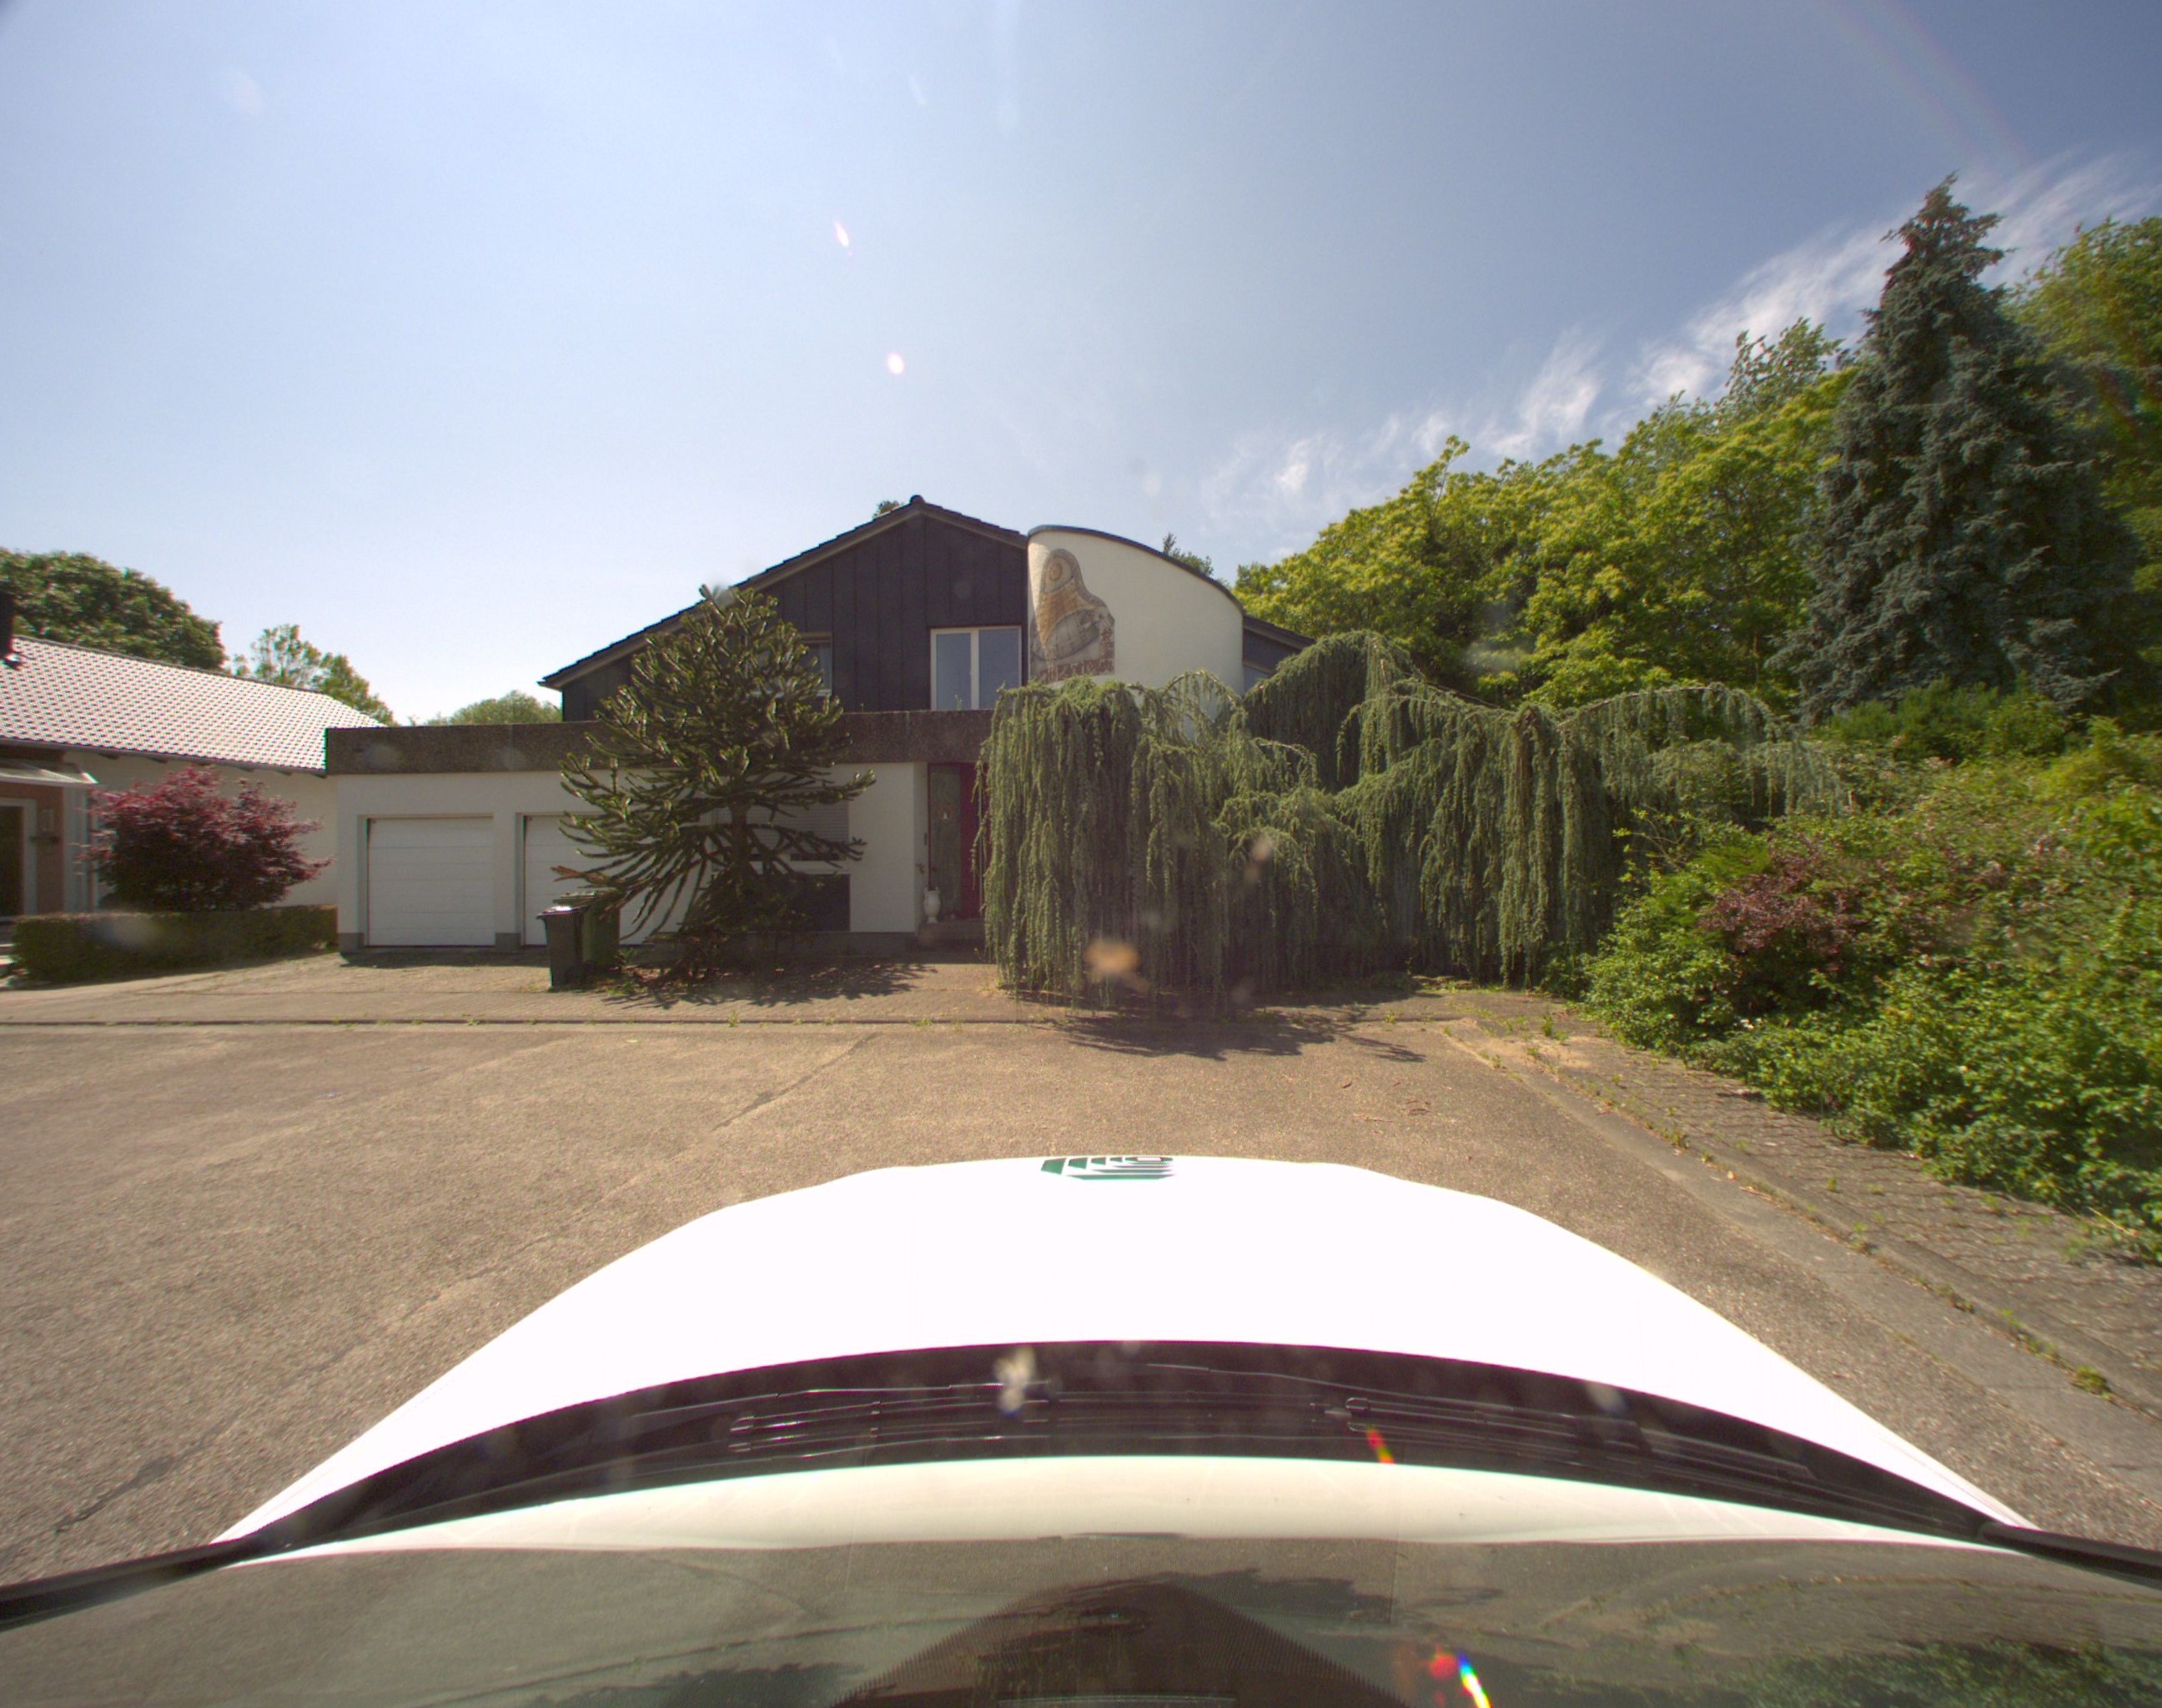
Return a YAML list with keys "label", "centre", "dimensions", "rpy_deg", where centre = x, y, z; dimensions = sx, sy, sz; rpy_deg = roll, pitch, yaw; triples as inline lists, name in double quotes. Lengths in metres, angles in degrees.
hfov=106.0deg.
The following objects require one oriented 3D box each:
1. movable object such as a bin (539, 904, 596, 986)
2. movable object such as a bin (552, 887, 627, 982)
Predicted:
- label: "movable object such as a bin"
  centre: [-6.353, 1.115, 10.093]
  dimensions: [0.524, 0.950, 0.386]
  rpy_deg: [-1, 0, -21]
- label: "movable object such as a bin"
  centre: [-6.492, 1.048, 10.785]
  dimensions: [0.628, 1.203, 0.552]
  rpy_deg: [-1, 0, 6]
